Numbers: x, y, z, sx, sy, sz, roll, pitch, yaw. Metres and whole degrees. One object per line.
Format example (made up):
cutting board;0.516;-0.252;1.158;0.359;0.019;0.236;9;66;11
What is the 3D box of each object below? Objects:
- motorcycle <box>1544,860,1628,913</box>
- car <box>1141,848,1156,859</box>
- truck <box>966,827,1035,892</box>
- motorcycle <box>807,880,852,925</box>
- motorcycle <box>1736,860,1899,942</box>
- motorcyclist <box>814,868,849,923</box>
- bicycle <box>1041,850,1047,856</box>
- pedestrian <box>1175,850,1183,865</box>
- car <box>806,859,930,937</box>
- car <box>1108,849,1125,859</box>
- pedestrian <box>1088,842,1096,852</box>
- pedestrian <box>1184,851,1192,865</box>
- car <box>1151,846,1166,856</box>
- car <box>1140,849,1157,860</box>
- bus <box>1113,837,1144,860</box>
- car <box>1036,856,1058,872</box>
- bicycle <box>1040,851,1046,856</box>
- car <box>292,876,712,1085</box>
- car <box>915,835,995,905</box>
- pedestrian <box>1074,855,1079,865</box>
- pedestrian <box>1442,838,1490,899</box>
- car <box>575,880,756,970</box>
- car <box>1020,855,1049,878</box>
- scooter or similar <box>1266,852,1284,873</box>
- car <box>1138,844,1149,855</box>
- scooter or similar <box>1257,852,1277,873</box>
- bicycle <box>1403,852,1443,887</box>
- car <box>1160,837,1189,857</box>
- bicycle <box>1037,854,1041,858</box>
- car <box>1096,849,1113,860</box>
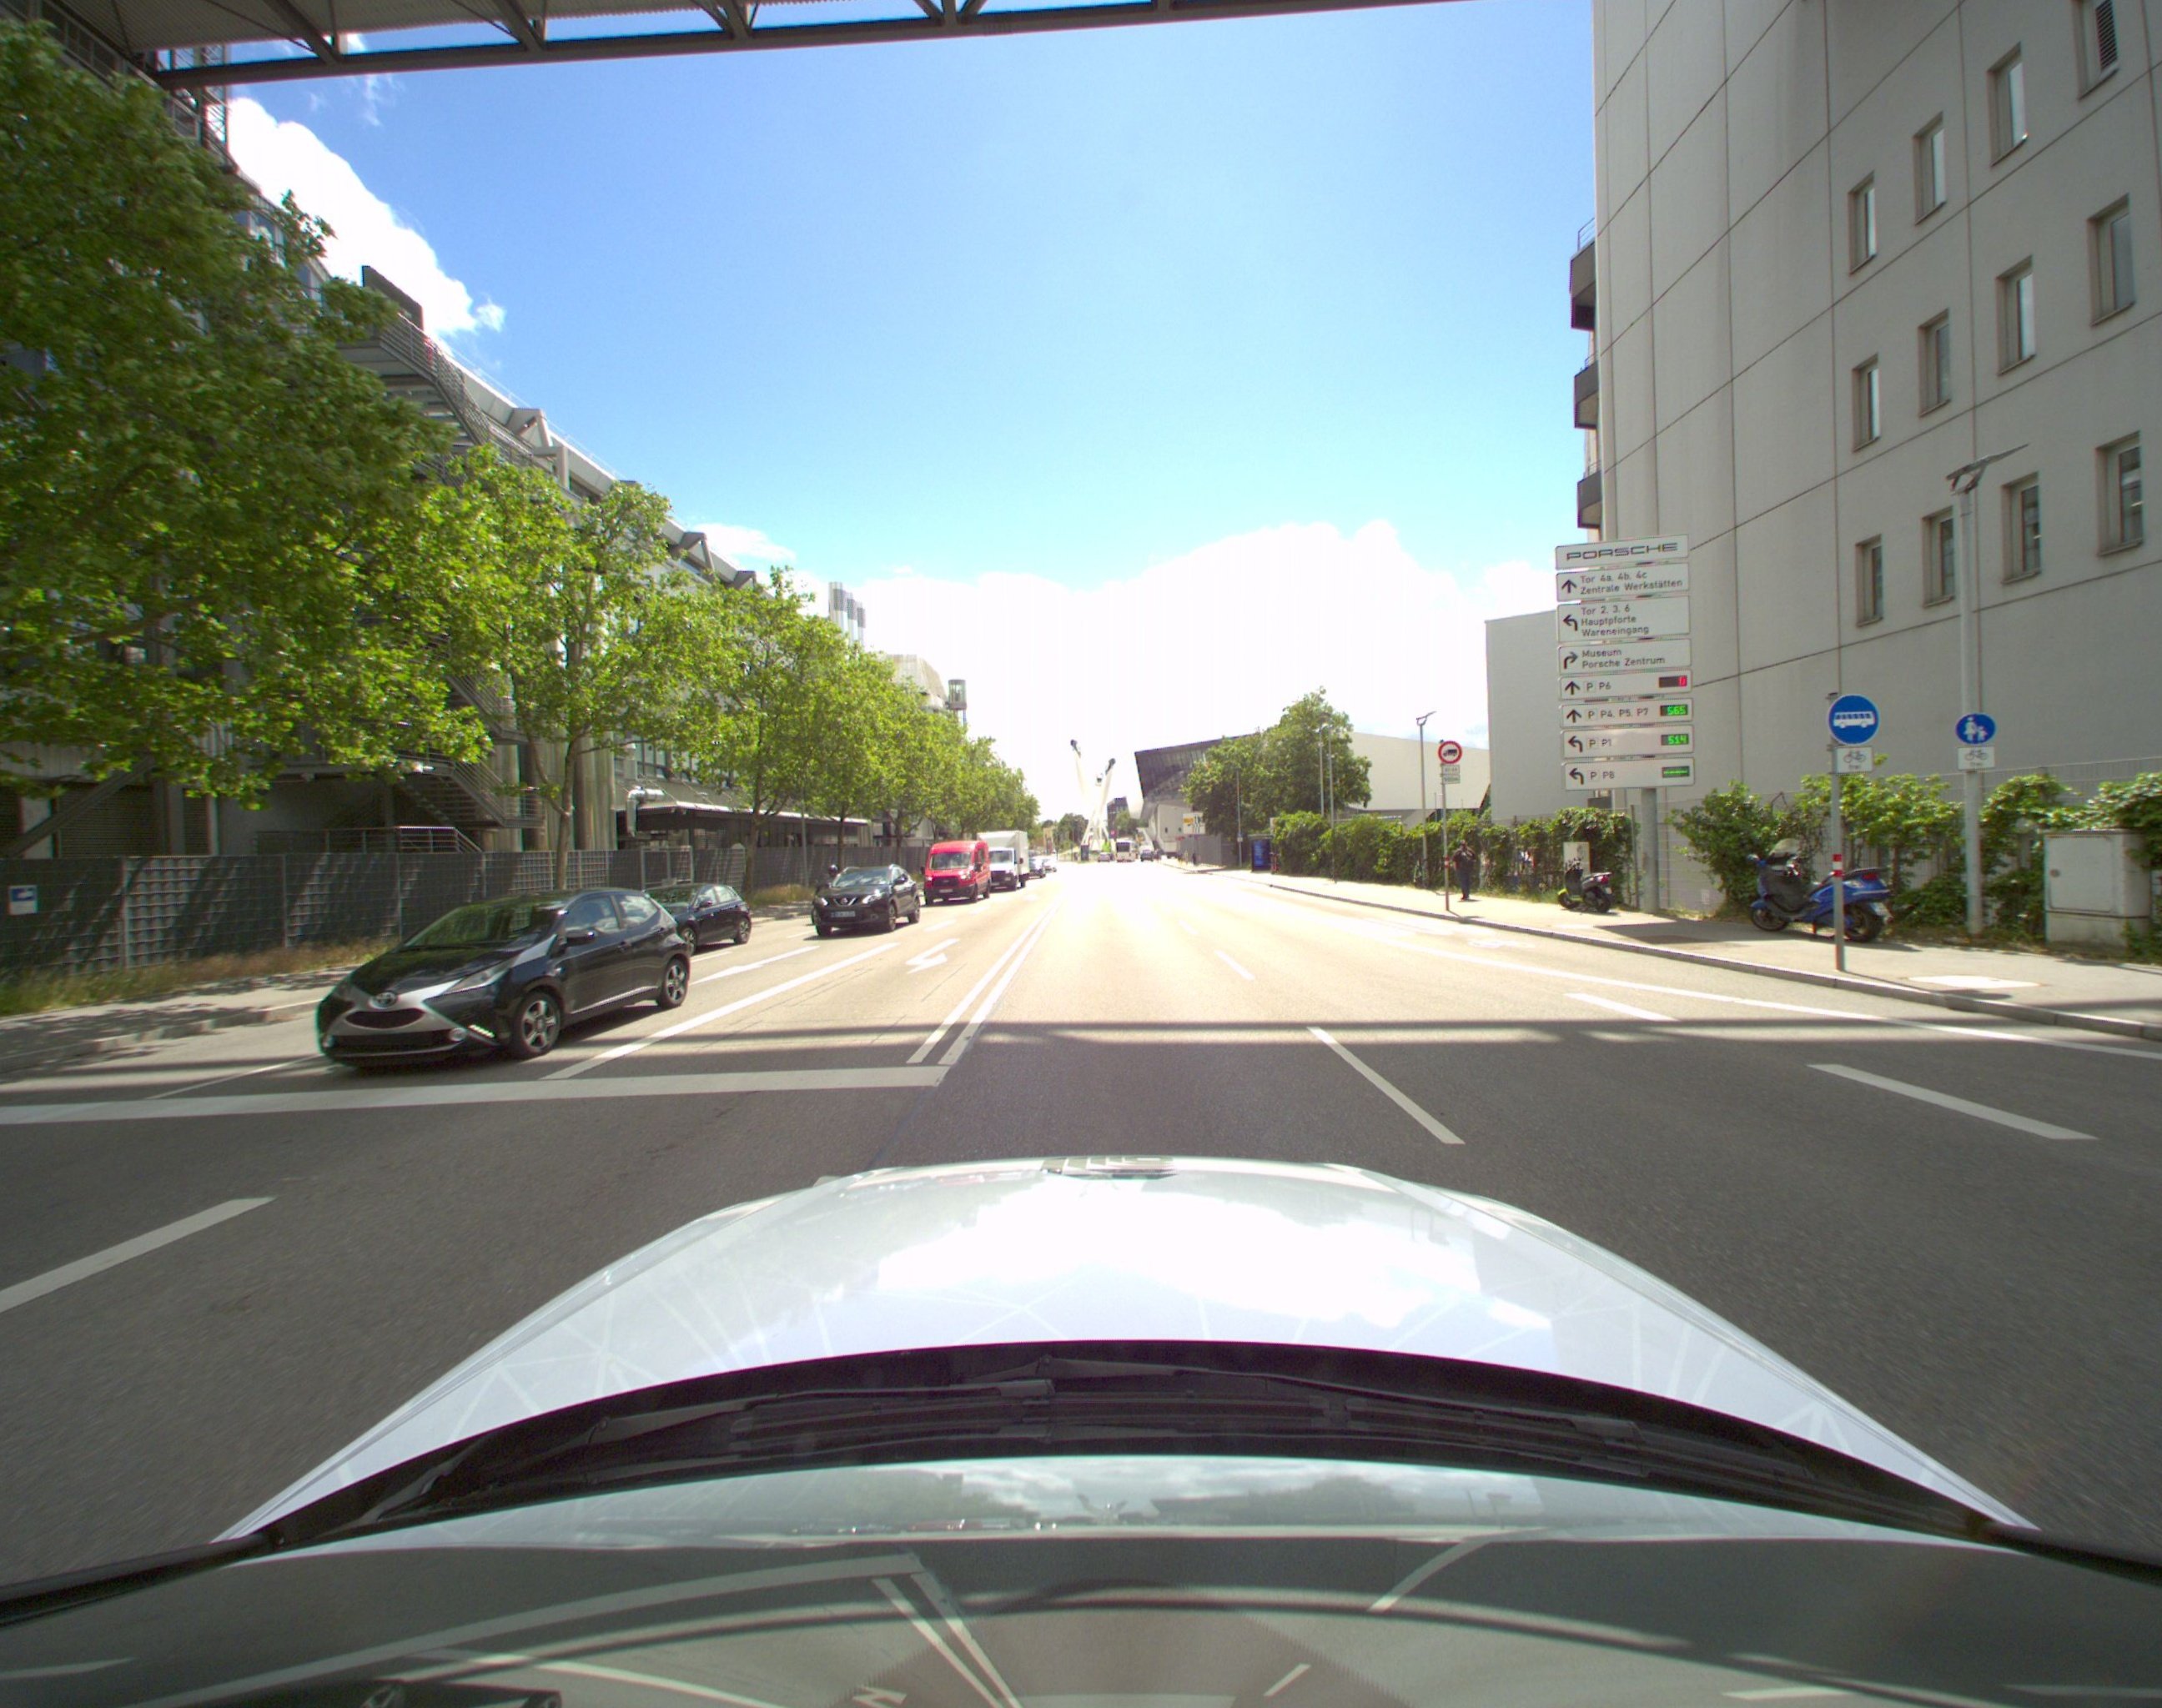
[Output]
motorcycle;11.157;0.679;18.074;0.588;1.067;2.038;-3;0;2
car;12.455;-0.099;149.204;1.979;1.932;4.257;-1;-1;15
truck;-4.215;0.312;44.008;2.442;3.129;7.249;-3;-1;3
motorcycle;-7.642;1.450;24.848;0.672;1.220;2.374;-1;-1;-2
motorcycle;10.920;0.658;12.194;0.588;1.067;2.038;-4;0;2
motorcyclist;-7.651;1.249;24.991;0.731;1.622;1.094;-1;-1;-1
bicycle;-9.938;-0.260;218.998;1.600;1.382;0.493;-1;-1;1
pedestrian;11.319;0.425;93.842;0.792;1.720;0.732;-1;-1;1
car;-5.221;1.017;20.539;1.729;1.684;4.217;-3;-1;3
car;5.952;-0.037;135.810;1.979;1.636;4.016;-1;-1;15
pedestrian;2.211;-1.433;166.854;1.288;1.816;0.979;-6;4;-23
pedestrian;12.314;0.482;93.772;0.792;1.597;0.732;-1;-1;1
car;13.136;-0.496;137.652;1.979;1.636;4.016;-1;-1;15
car;10.771;0.075;130.116;1.979;1.636;4.016;-1;1;15
bus;7.745;-0.774;130.355;3.051;3.362;12.263;-1;-1;12
car;-3.291;0.941;79.830;1.685;1.415;4.147;-4;0;2
bicycle;-10.068;-0.215;217.627;1.600;1.316;0.493;-1;-1;1
car;-5.503;1.072;8.380;1.552;1.505;3.615;-4;0;2
car;-5.017;0.612;33.237;2.055;2.507;5.483;-3;0;2
pedestrian;-0.810;1.013;145.783;0.864;1.774;1.031;0;-1;-12
pedestrian;10.943;0.410;23.177;0.807;1.645;0.997;-3;-1;0
car;-8.328;1.347;16.745;1.571;1.428;3.921;-4;0;1
car;-3.529;0.949;62.284;1.733;1.581;4.269;-4;0;2
scooter or similar;11.668;0.501;48.912;0.536;1.163;1.803;-3;0;29
car;12.654;-0.911;164.559;1.983;2.171;4.664;-1;-1;7
scooter or similar;11.428;0.521;50.001;0.536;1.163;2.141;-3;0;29
bicycle;12.011;0.536;28.675;0.441;1.180;2.469;-1;-1;2
car;17.615;-1.273;152.736;3.307;3.504;9.389;-1;-1;21
bicycle;-11.000;0.535;214.843;0.488;0.866;1.617;-2;2;13
car;3.662;0.121;126.666;1.980;1.636;4.014;-1;-1;13
